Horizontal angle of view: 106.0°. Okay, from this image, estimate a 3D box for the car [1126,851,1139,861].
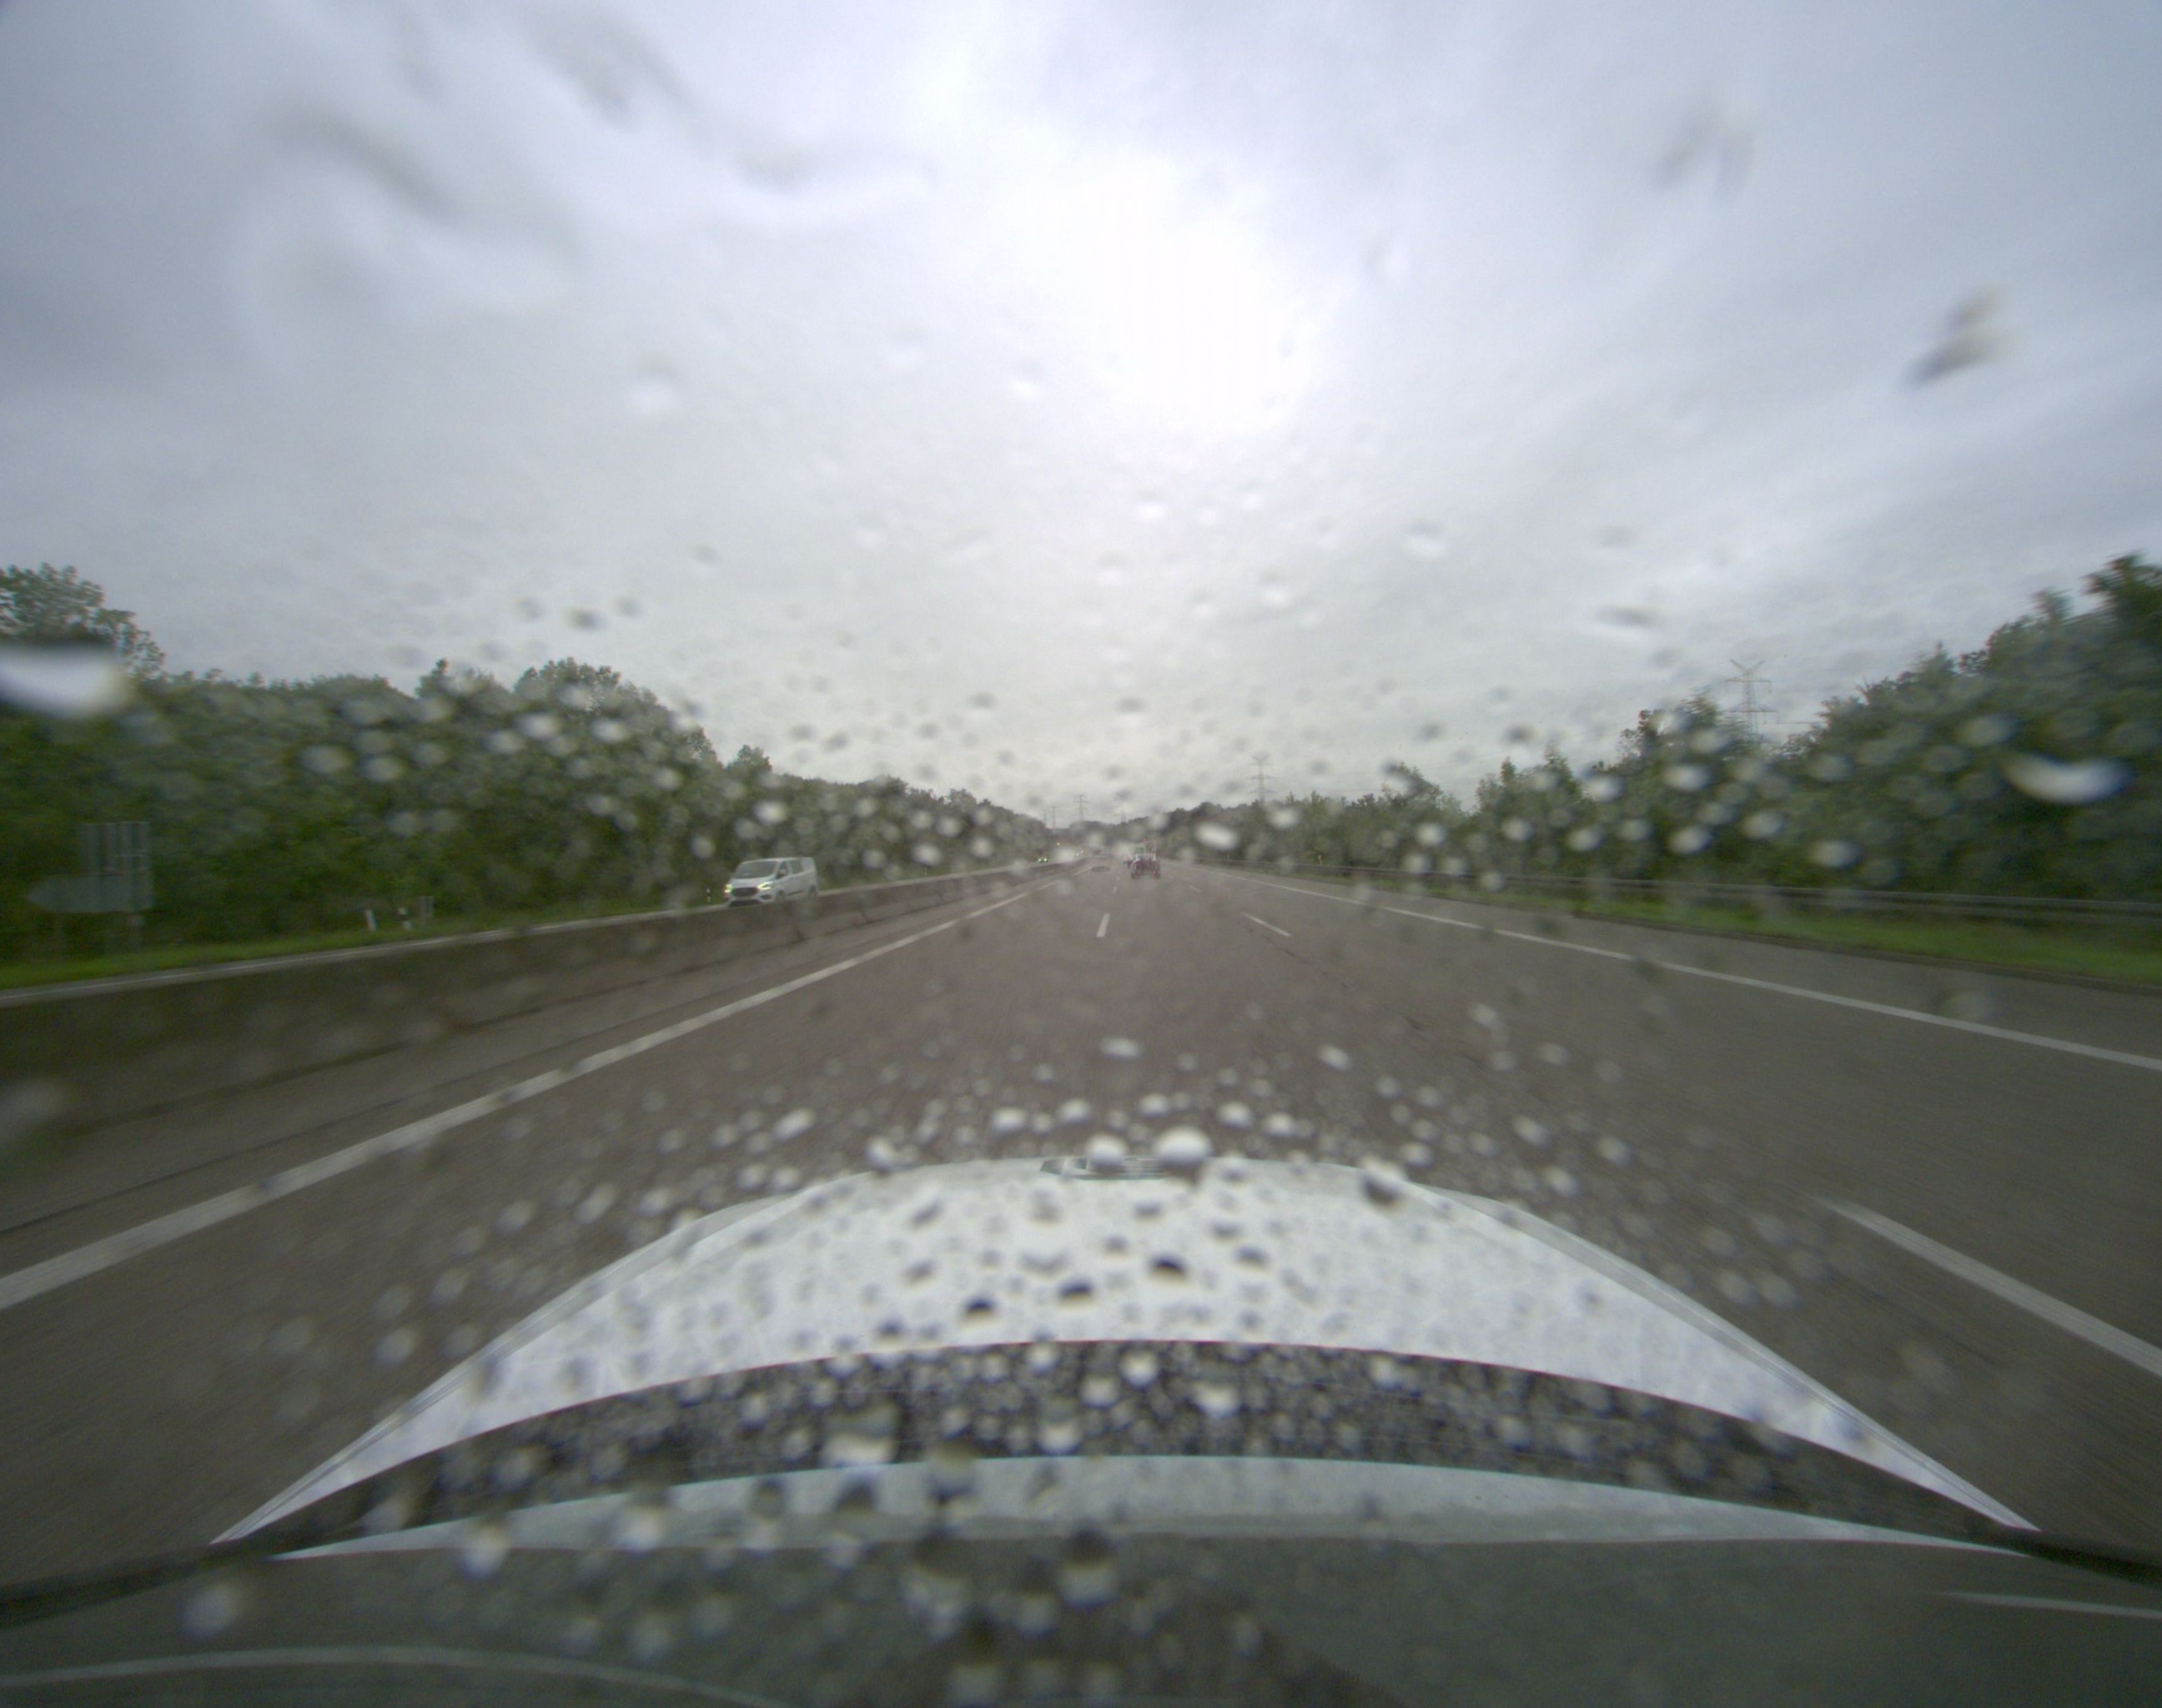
[{"bbox_3d":[7.833,0.241,124.250,1.849,1.422,4.003,-1,1,2],"label":"car"}]

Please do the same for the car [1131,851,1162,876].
[{"bbox_3d":[4.326,0.592,54.231,1.853,1.568,4.967,-1,0,2],"label":"car"}]

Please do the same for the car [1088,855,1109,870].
[{"bbox_3d":[1.723,0.819,78.463,1.860,1.288,4.001,-3,0,2],"label":"car"}]

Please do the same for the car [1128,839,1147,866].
[{"bbox_3d":[6.344,-0.160,91.468,1.985,2.864,4.003,-3,0,3],"label":"car"}]

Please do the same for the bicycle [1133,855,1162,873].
[{"bbox_3d":[4.180,0.656,51.287,1.747,1.090,0.914,-1,-1,1],"label":"bicycle"}]

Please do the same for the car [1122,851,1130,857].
[{"bbox_3d":[11.654,-0.031,212.313,1.986,1.574,4.001,-3,0,2],"label":"car"}]

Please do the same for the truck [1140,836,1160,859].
[{"bbox_3d":[13.865,-1.202,163.684,3.588,4.332,13.212,-2,0,3],"label":"truck"}]

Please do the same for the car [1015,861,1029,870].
[{"bbox_3d":[-10.484,2.100,145.229,1.791,1.450,4.631,-3,0,2],"label":"car"}]

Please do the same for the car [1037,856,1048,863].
[{"bbox_3d":[-9.054,1.264,191.595,1.984,1.618,4.005,0,-1,5],"label":"car"}]

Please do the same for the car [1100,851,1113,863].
[{"bbox_3d":[3.584,0.447,115.672,1.839,1.772,4.001,0,-1,2],"label":"car"}]

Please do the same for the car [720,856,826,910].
[{"bbox_3d":[-12.282,1.110,32.965,1.986,2.014,5.762,0,-1,1],"label":"car"}]
